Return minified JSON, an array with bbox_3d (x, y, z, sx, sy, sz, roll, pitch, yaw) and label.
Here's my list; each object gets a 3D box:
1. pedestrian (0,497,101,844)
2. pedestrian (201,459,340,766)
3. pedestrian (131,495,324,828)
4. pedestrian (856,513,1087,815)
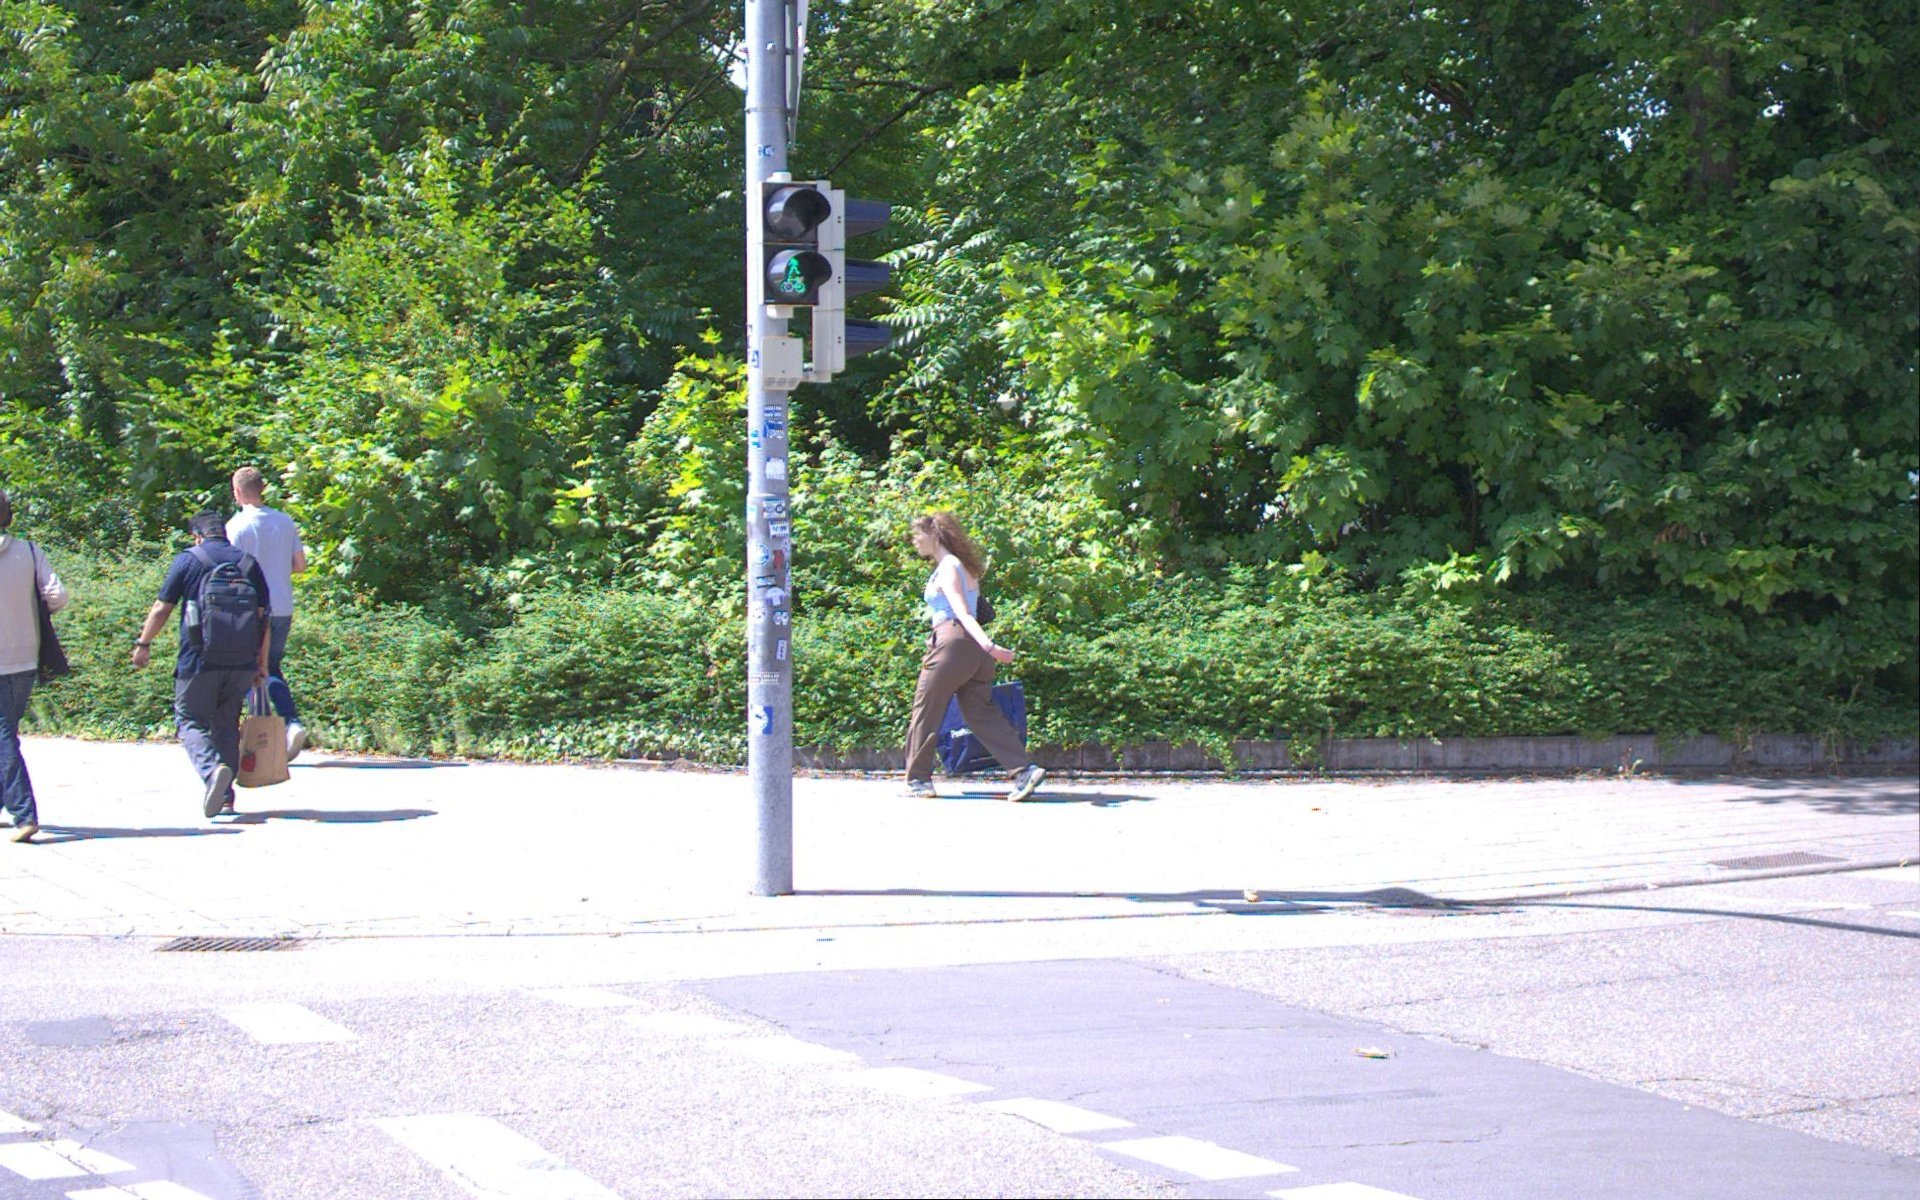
[{"bbox_3d":[-4.844,0.331,17.408,0.795,1.698,1.183,0,1,-22],"label":"pedestrian"},{"bbox_3d":[-4.172,0.067,20.786,0.670,1.814,0.703,0,1,-24],"label":"pedestrian"},{"bbox_3d":[-3.894,0.300,18.215,0.795,1.698,1.183,0,1,-22],"label":"pedestrian"},{"bbox_3d":[0.069,0.337,19.408,1.018,1.620,0.856,1,3,29],"label":"pedestrian"}]
